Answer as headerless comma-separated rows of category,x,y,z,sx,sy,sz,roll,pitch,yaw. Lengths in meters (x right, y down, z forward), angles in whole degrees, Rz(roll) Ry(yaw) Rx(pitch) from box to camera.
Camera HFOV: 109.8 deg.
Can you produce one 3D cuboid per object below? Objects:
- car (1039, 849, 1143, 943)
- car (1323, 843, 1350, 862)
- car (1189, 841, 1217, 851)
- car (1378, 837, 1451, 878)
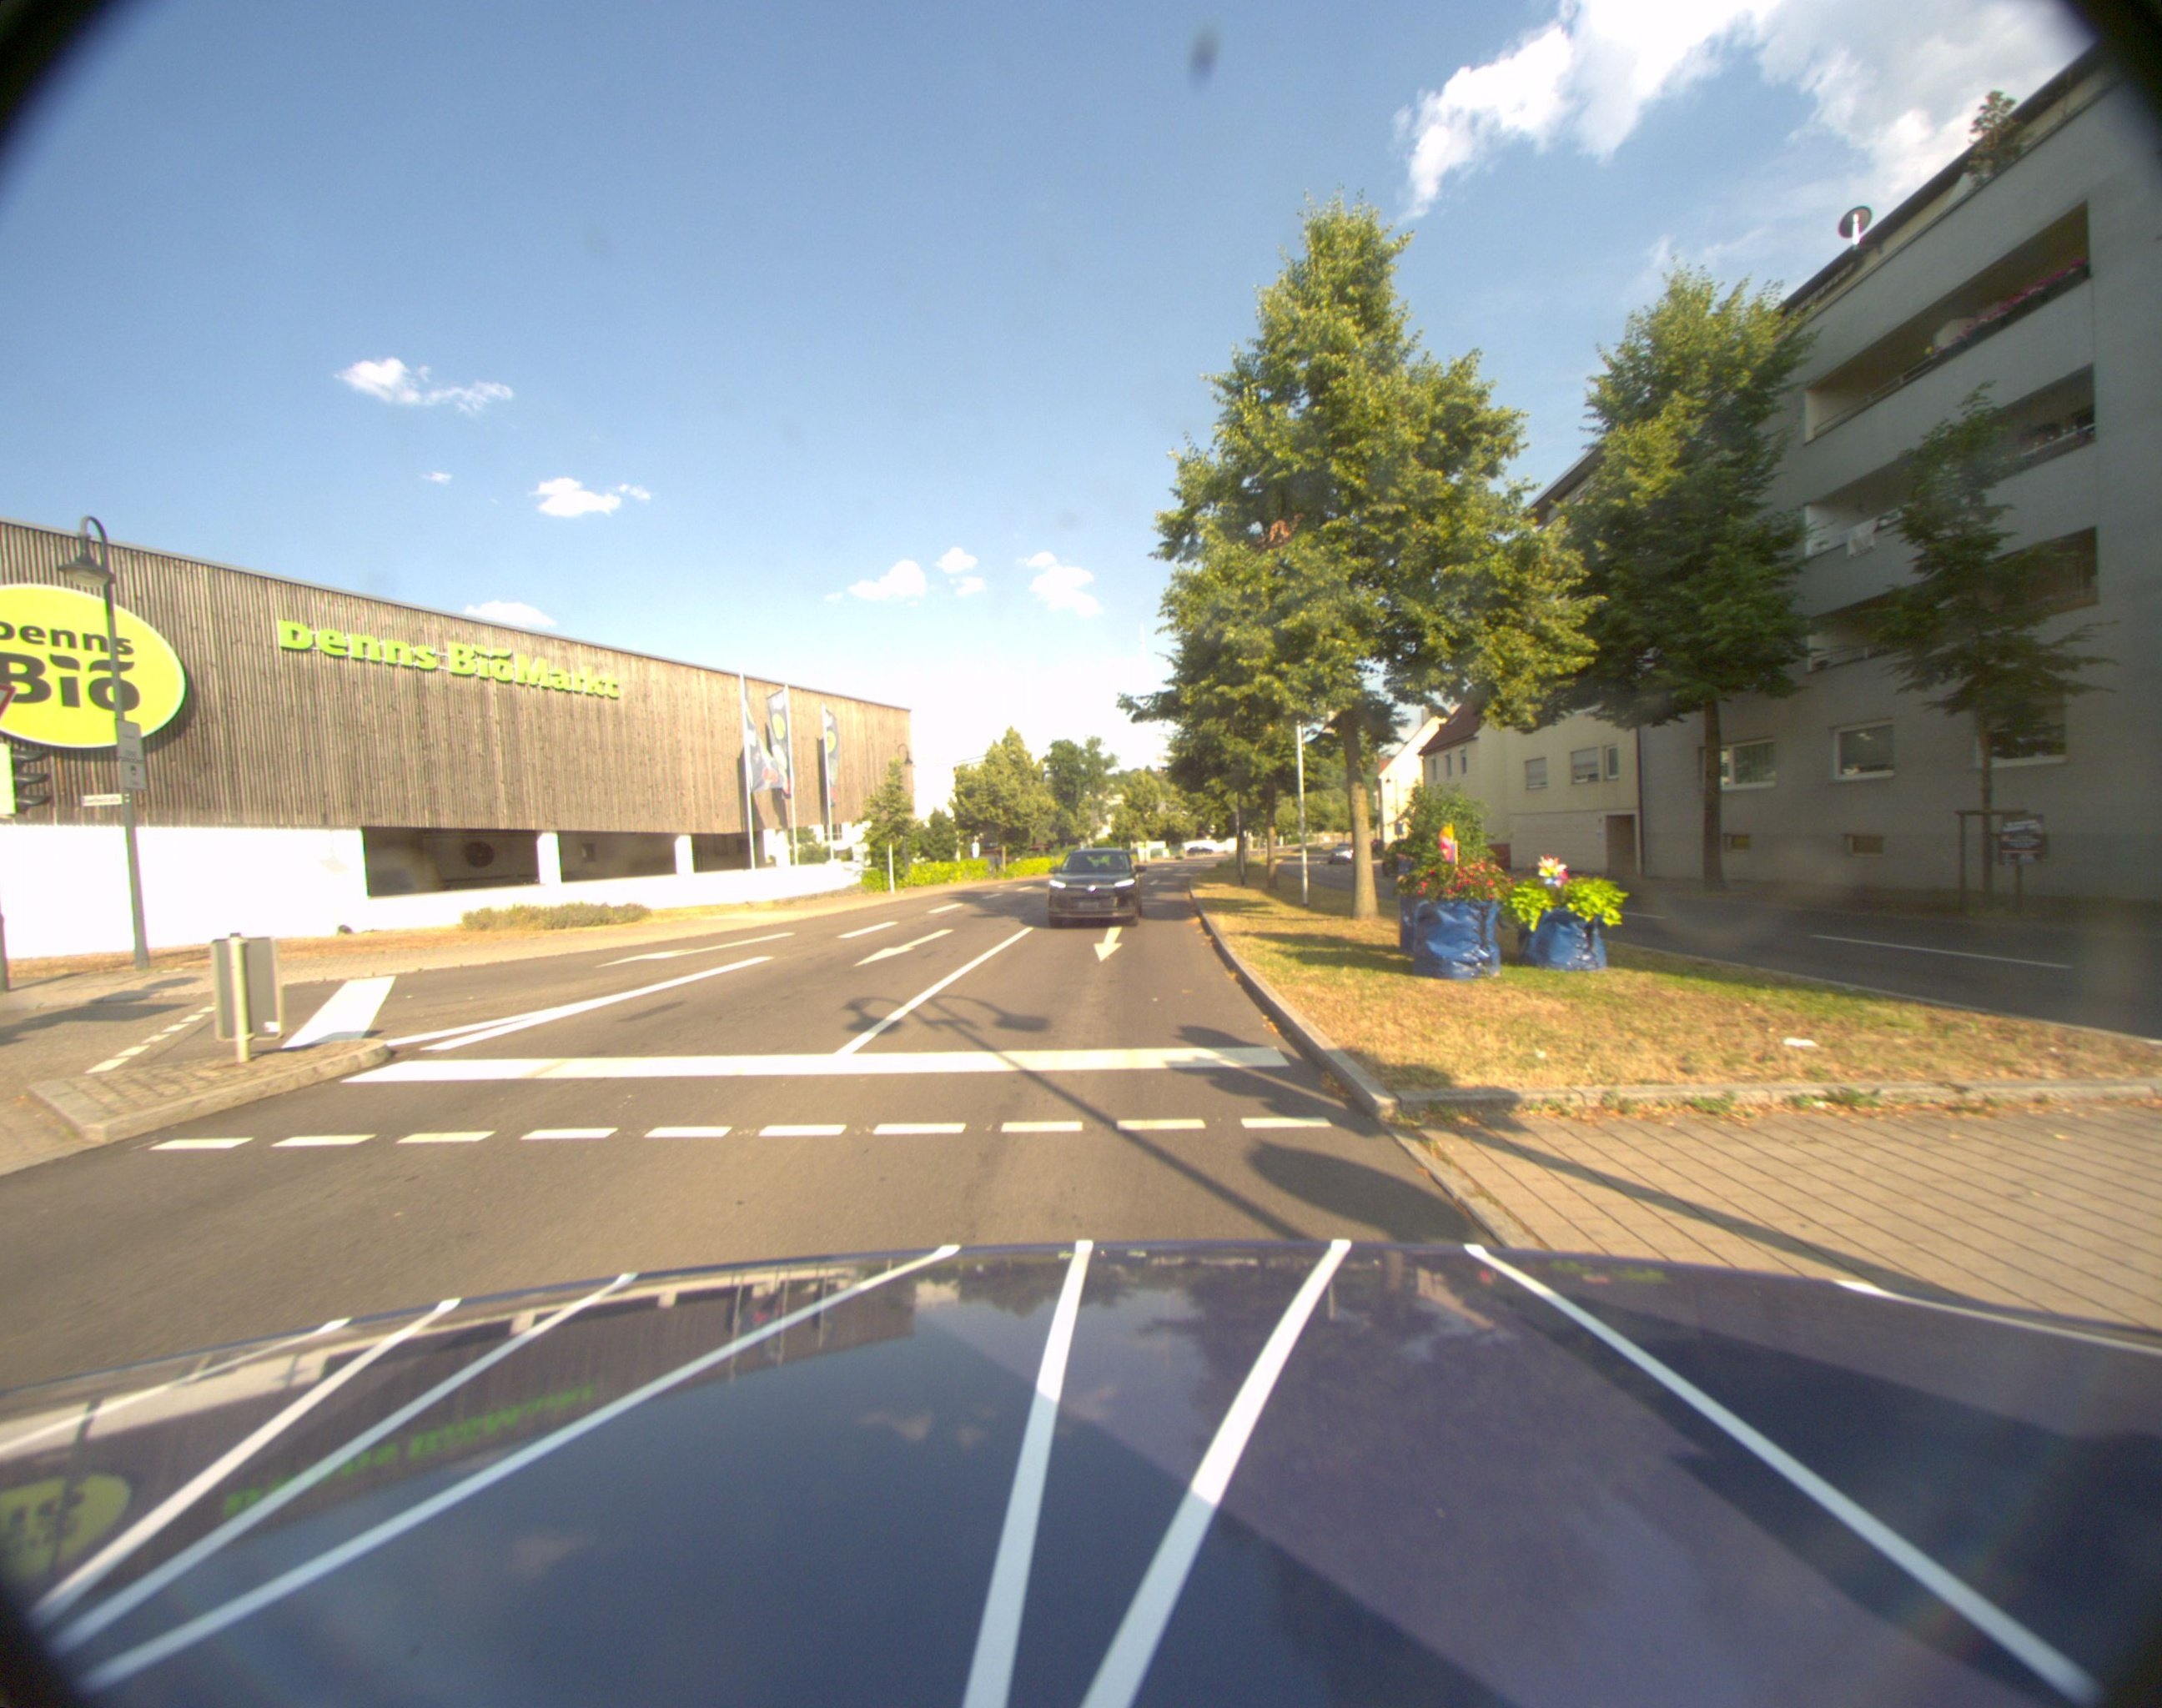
car,0.350,0.761,15.957,1.724,1.605,4.262,-1,1,7
car,21.387,-0.178,63.825,1.855,1.477,5.001,-1,1,15
car,18.749,-1.250,117.035,3.829,1.412,1.941,-3,1,26
car,15.296,0.107,35.146,1.856,1.726,4.925,-1,1,9
